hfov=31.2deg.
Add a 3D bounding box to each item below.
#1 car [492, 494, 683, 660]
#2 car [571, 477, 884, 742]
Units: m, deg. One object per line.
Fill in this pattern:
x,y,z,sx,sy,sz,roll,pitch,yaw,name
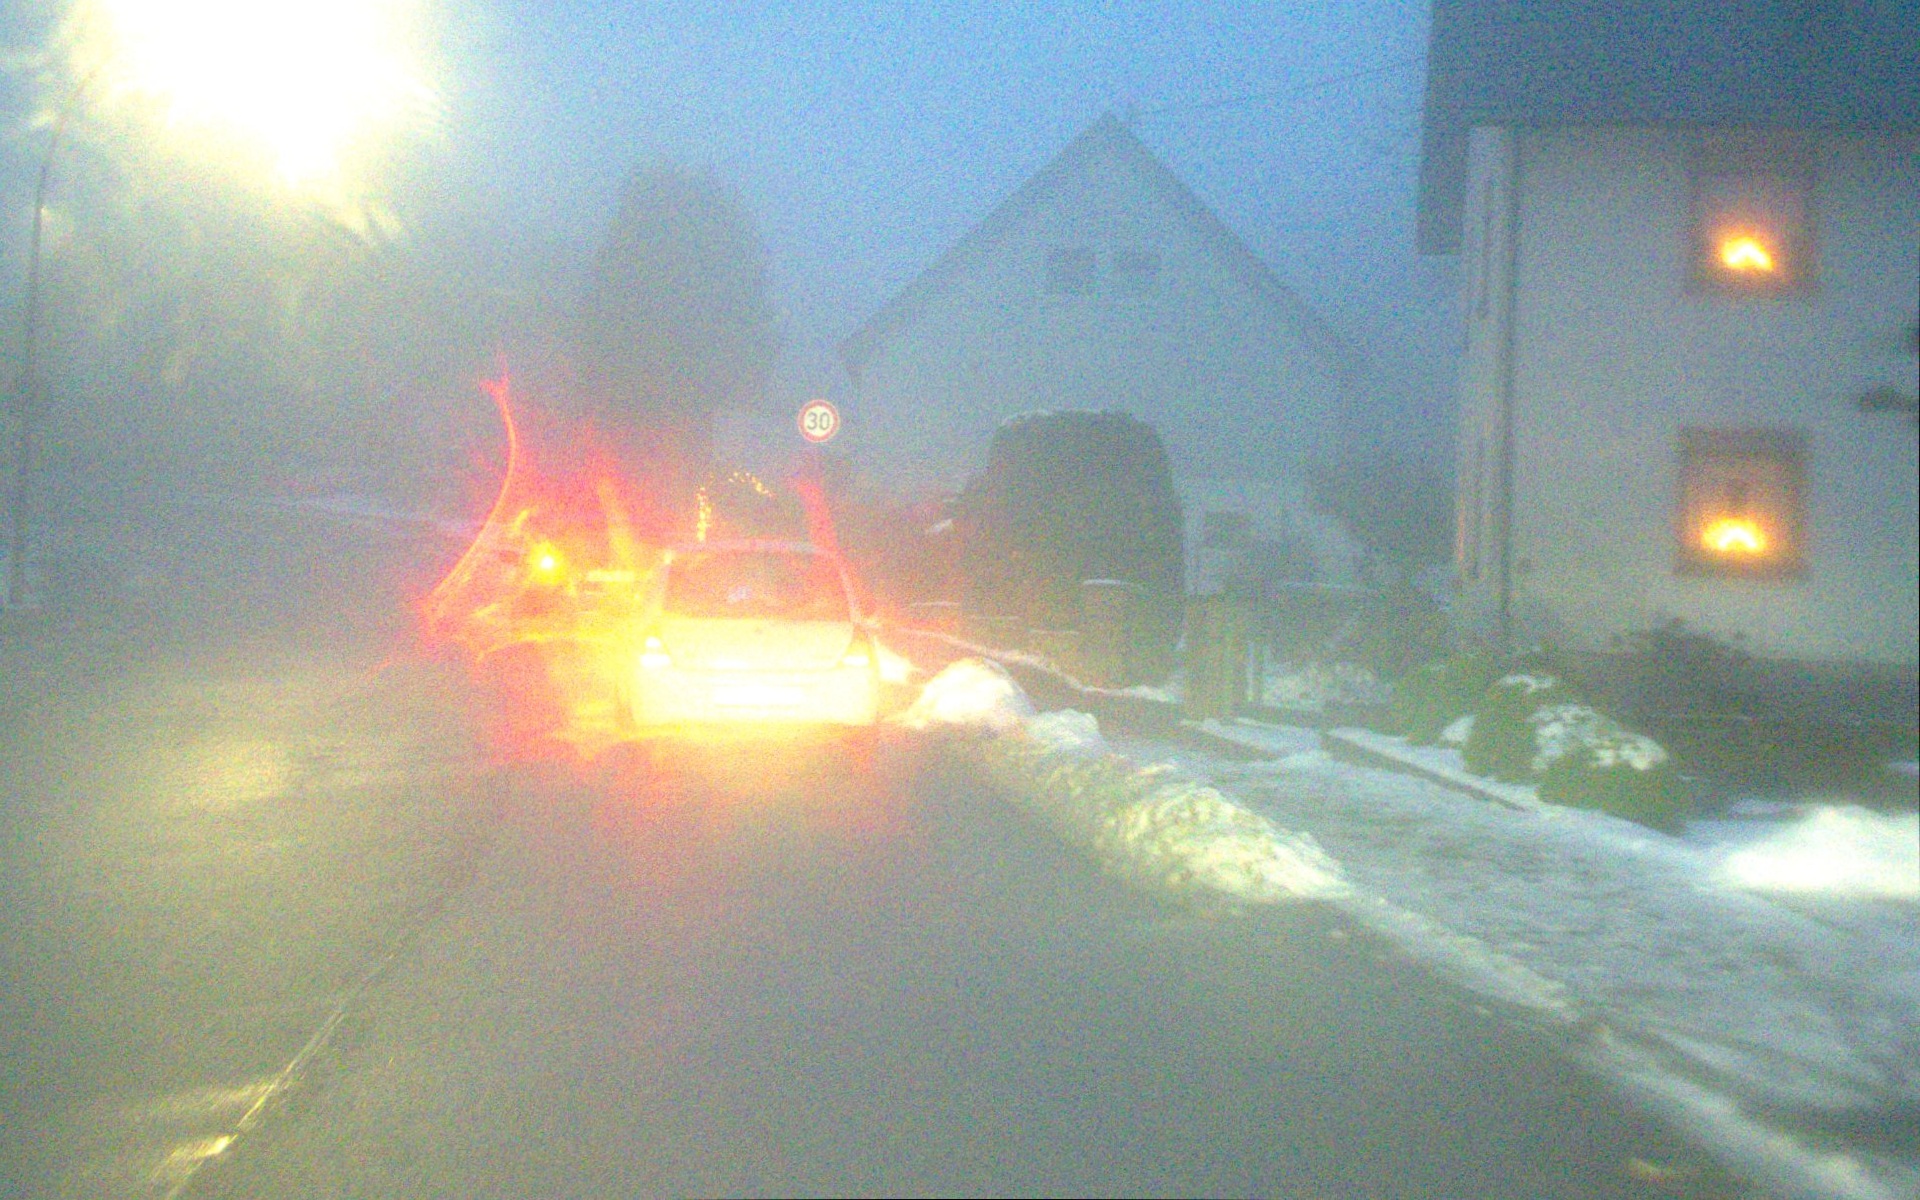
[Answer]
-4.165,-0.249,38.220,1.993,1.731,3.879,1,0,-7,car
-1.556,0.049,23.038,1.897,1.604,4.001,1,0,-4,car
